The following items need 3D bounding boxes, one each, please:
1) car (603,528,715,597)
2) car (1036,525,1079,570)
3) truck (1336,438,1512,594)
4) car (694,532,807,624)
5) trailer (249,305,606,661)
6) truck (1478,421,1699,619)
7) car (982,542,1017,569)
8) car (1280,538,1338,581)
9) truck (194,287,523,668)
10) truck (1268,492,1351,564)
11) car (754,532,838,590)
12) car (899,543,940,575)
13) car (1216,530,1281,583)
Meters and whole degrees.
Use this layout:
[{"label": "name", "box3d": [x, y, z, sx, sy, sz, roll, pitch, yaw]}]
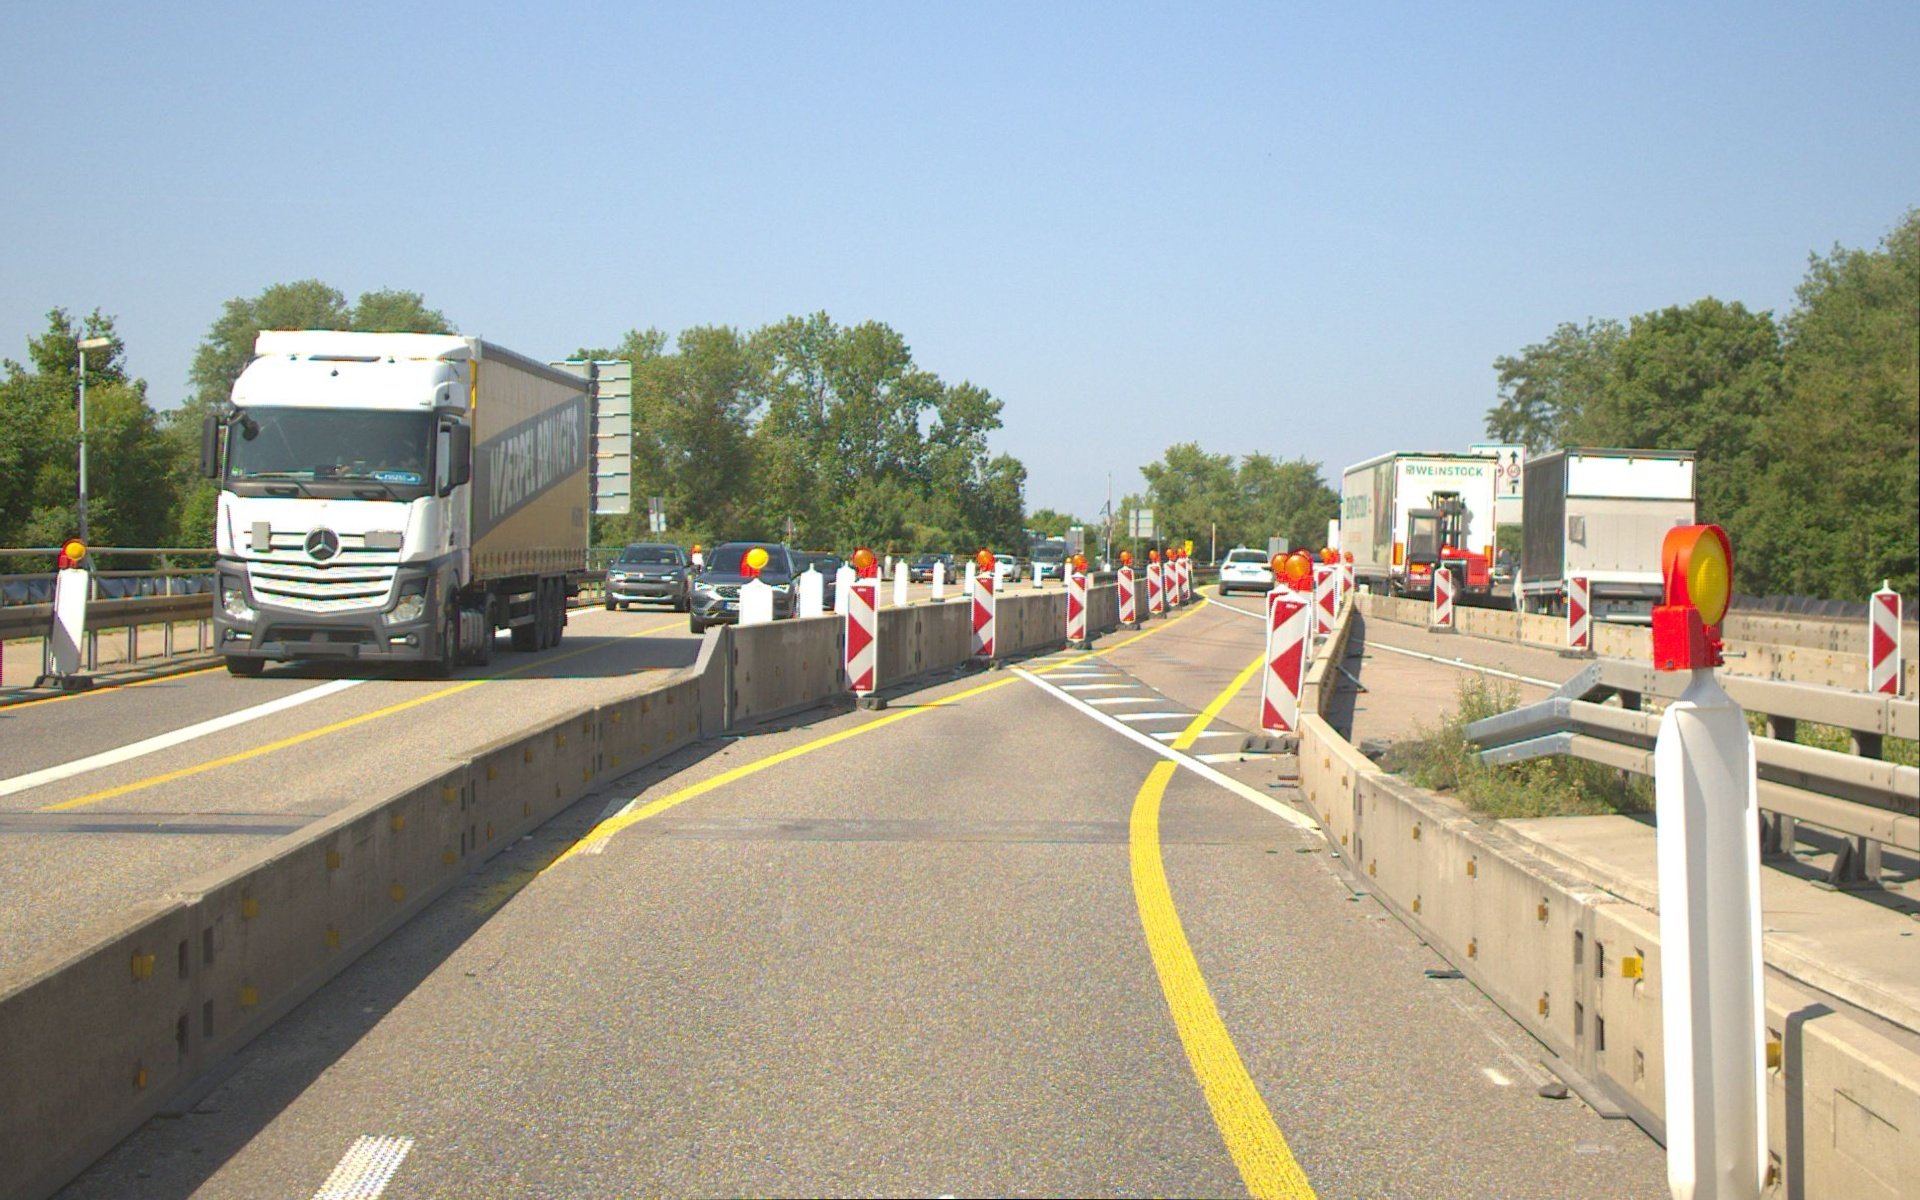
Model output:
[{"label": "car", "box3d": [-6.797, -0.873, 77.976, 1.933, 1.503, 4.469, 1, 1, 3]}, {"label": "car", "box3d": [5.862, -3.134, 206.517, 2.146, 2.651, 5.545, 1, 1, 6]}, {"label": "truck", "box3d": [11.665, -2.094, 87.024, 3.388, 3.761, 7.233, 0, 1, -1]}, {"label": "car", "box3d": [-3.665, -0.414, 60.583, 1.790, 1.563, 3.873, 0, 1, -1]}, {"label": "trailer", "box3d": [-6.919, -1.478, 47.137, 2.761, 4.122, 14.532, 0, 1, -1]}, {"label": "truck", "box3d": [11.476, -1.473, 63.397, 2.634, 3.415, 7.234, -1, 1, -1]}, {"label": "car", "box3d": [2.149, -2.430, 186.988, 1.719, 1.392, 4.519, 2, 1, 3]}, {"label": "car", "box3d": [14.691, -1.711, 144.870, 1.993, 1.770, 4.000, 0, 1, -1]}, {"label": "truck", "box3d": [-6.928, -1.385, 40.491, 2.749, 4.122, 6.416, 0, 1, 0]}, {"label": "truck", "box3d": [21.084, -4.321, 208.026, 4.220, 4.252, 10.241, 0, 1, 1]}, {"label": "car", "box3d": [-4.009, -0.981, 84.666, 1.689, 1.371, 4.273, 1, 1, 2]}, {"label": "car", "box3d": [-1.921, -1.932, 163.010, 1.737, 1.471, 4.645, 0, 1, 2]}, {"label": "car", "box3d": [9.822, -1.504, 117.222, 1.816, 1.770, 4.000, 0, 1, -1]}]
